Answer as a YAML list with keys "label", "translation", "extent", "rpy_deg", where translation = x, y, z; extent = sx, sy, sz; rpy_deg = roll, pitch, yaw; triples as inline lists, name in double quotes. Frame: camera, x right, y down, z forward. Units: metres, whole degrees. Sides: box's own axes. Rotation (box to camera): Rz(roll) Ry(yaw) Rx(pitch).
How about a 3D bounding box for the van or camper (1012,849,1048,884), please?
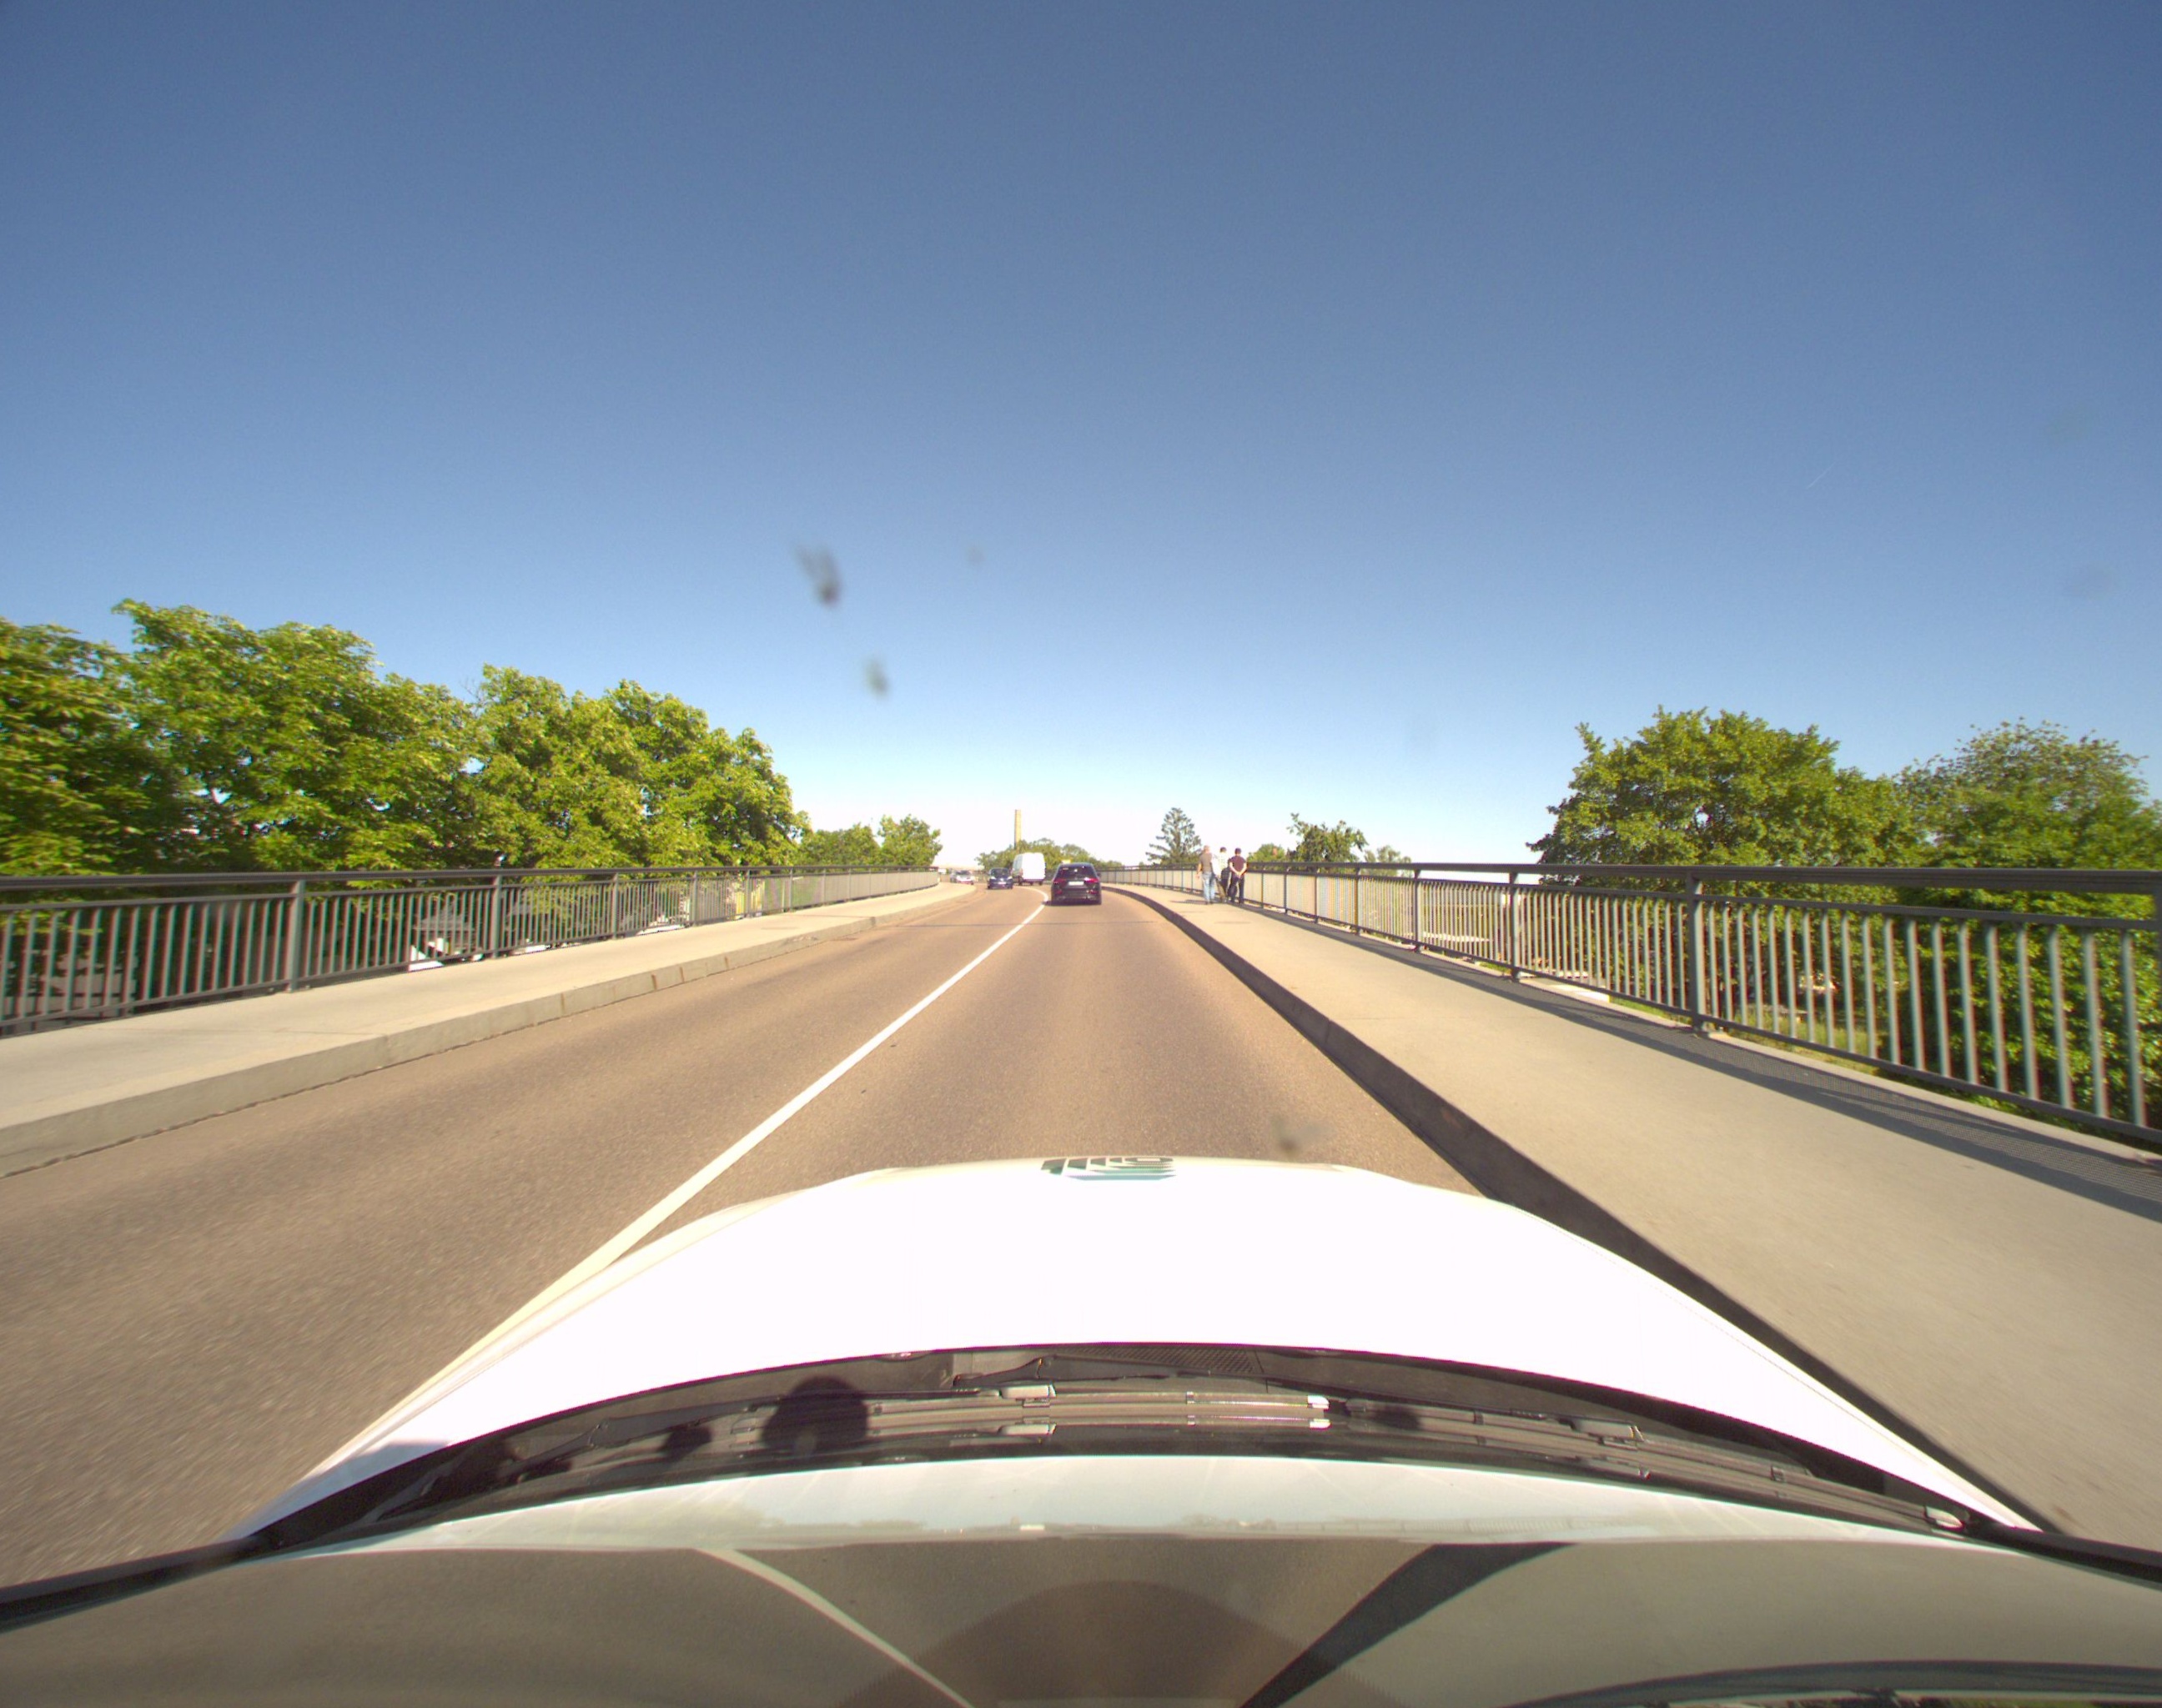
- label: "van or camper"
  translation: [-4.376, 1.150, 69.219]
  extent: [2.227, 2.740, 7.052]
  rpy_deg: [1, -3, -10]

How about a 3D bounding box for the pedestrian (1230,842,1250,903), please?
- label: "pedestrian"
  translation: [4.589, 0.547, 23.600]
  extent: [0.470, 1.750, 0.654]
  rpy_deg: [0, -3, 2]

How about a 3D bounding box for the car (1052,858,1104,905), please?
- label: "car"
  translation: [-0.179, 0.981, 30.058]
  extent: [1.765, 1.593, 3.985]
  rpy_deg: [1, -1, -3]

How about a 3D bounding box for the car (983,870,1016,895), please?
- label: "car"
  translation: [-5.602, 1.947, 56.285]
  extent: [1.763, 1.593, 3.989]
  rpy_deg: [1, -1, 1]

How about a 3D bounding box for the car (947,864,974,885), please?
- label: "car"
  translation: [-11.605, 1.978, 78.420]
  extent: [1.853, 1.798, 3.974]
  rpy_deg: [-1, 1, -20]

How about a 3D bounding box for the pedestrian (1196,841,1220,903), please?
- label: "pedestrian"
  translation: [3.687, 0.535, 23.627]
  extent: [0.600, 1.750, 0.717]
  rpy_deg: [0, -3, 1]

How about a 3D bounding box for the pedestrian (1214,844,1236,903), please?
- label: "pedestrian"
  translation: [4.301, 0.590, 24.397]
  extent: [0.547, 1.750, 0.739]
  rpy_deg: [0, -3, 2]
